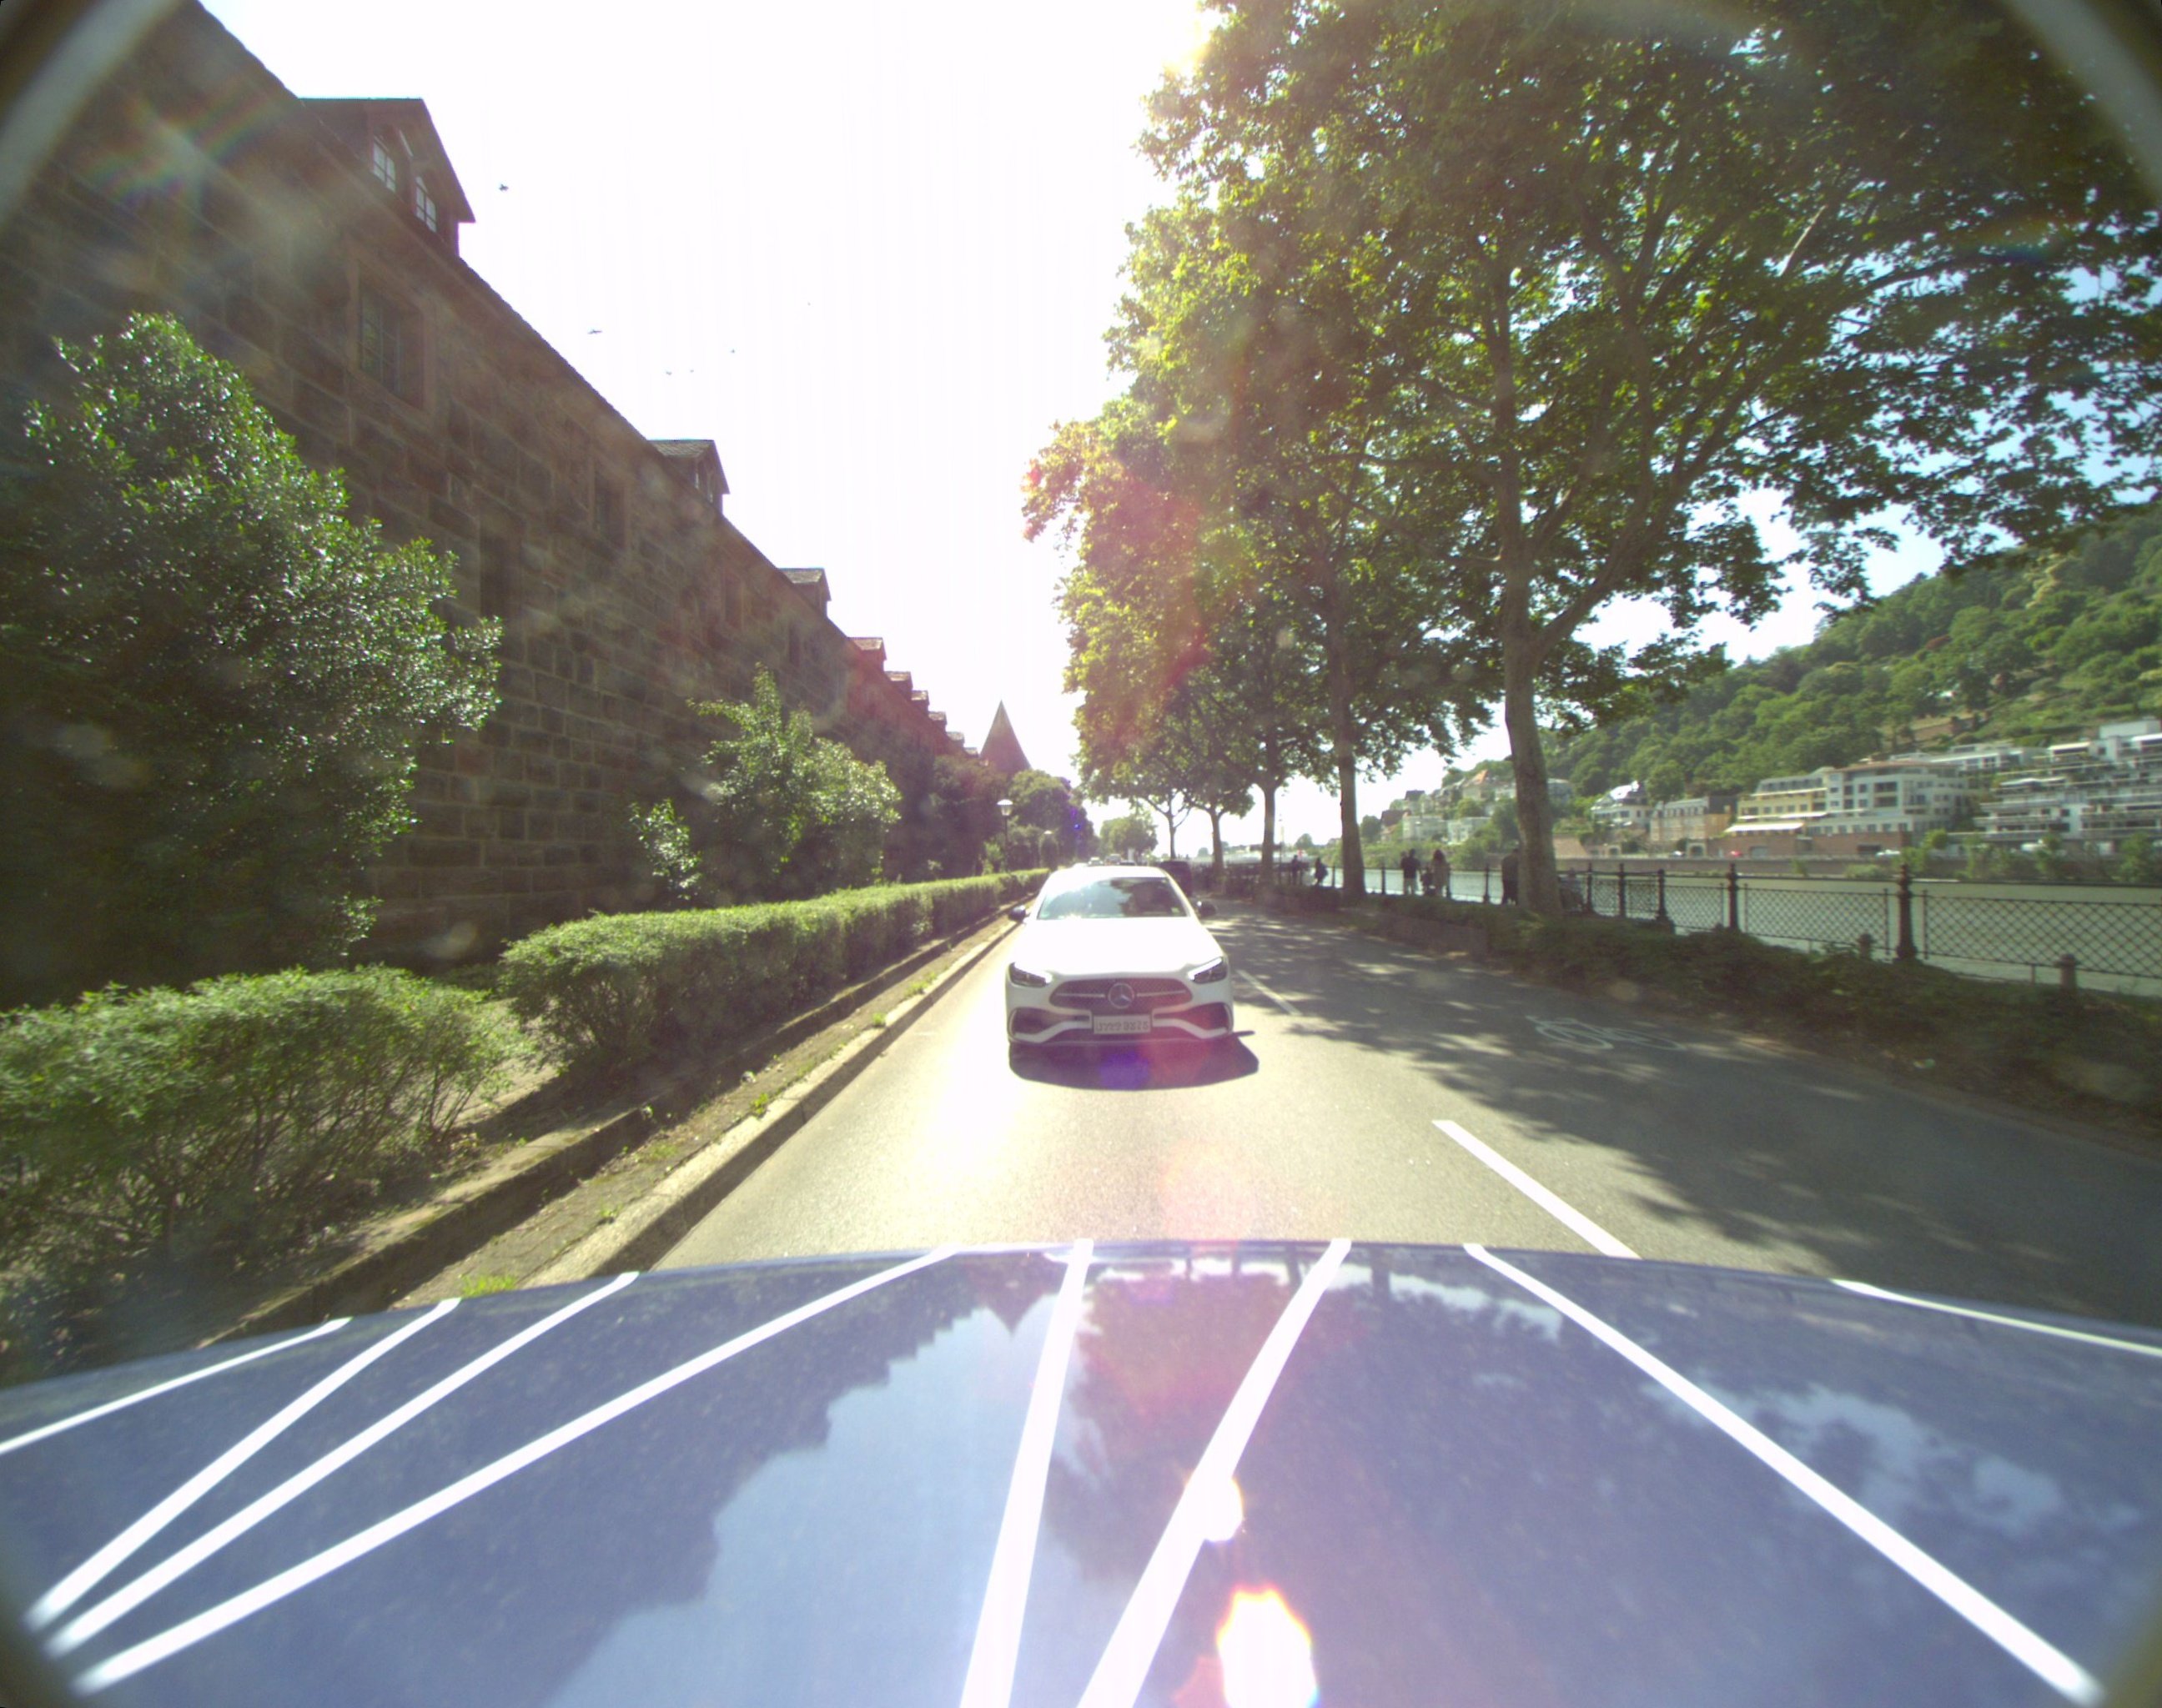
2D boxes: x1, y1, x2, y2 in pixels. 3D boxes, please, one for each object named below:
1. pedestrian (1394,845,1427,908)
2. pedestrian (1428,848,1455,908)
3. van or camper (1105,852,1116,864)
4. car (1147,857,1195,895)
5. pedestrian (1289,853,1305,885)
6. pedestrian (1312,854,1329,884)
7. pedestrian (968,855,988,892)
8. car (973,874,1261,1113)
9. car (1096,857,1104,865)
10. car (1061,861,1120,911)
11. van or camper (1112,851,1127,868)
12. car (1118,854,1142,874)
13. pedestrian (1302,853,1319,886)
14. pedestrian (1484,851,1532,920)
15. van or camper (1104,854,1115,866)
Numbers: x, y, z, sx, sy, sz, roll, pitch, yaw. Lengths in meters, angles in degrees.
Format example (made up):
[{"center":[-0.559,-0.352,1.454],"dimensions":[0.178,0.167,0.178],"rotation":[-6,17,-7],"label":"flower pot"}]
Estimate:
[{"center":[9.879,0.663,22.801],"dimensions":[0.642,1.859,0.806],"rotation":[1,0,2],"label":"pedestrian"},{"center":[10.703,0.699,22.594],"dimensions":[0.518,1.758,0.592],"rotation":[1,0,1],"label":"pedestrian"},{"center":[6.637,0.977,172.123],"dimensions":[2.328,2.646,6.264],"rotation":[1,0,1],"label":"van or camper"},{"center":[4.074,0.960,34.887],"dimensions":[1.767,1.638,4.090],"rotation":[1,0,1],"label":"car"},{"center":[11.834,0.825,41.665],"dimensions":[0.705,1.721,0.705],"rotation":[-1,1,3],"label":"pedestrian"},{"center":[12.670,0.792,40.246],"dimensions":[0.705,1.594,0.705],"rotation":[-1,1,3],"label":"pedestrian"},{"center":[-4.771,0.898,35.120],"dimensions":[0.700,1.643,0.705],"rotation":[-3,1,3],"label":"pedestrian"},{"center":[0.268,0.968,7.119],"dimensions":[1.829,1.418,4.359],"rotation":[-2,0,1],"label":"car"},{"center":[4.566,1.642,184.627],"dimensions":[1.923,1.975,4.000],"rotation":[0,0,-1],"label":"car"},{"center":[0.341,1.020,25.622],"dimensions":[1.854,1.543,3.849],"rotation":[0,0,1],"label":"car"},{"center":[5.776,0.791,114.599],"dimensions":[1.965,2.552,5.841],"rotation":[1,0,1],"label":"van or camper"},{"center":[4.371,0.894,67.914],"dimensions":[1.881,1.688,4.258],"rotation":[1,0,0],"label":"car"},{"center":[12.629,0.833,41.780],"dimensions":[0.705,1.786,0.705],"rotation":[1,0,3],"label":"pedestrian"},{"center":[10.715,0.777,19.094],"dimensions":[0.695,1.707,0.874],"rotation":[1,0,-1],"label":"pedestrian"},{"center":[7.000,1.471,187.240],"dimensions":[2.328,2.646,6.264],"rotation":[1,0,1],"label":"van or camper"}]
